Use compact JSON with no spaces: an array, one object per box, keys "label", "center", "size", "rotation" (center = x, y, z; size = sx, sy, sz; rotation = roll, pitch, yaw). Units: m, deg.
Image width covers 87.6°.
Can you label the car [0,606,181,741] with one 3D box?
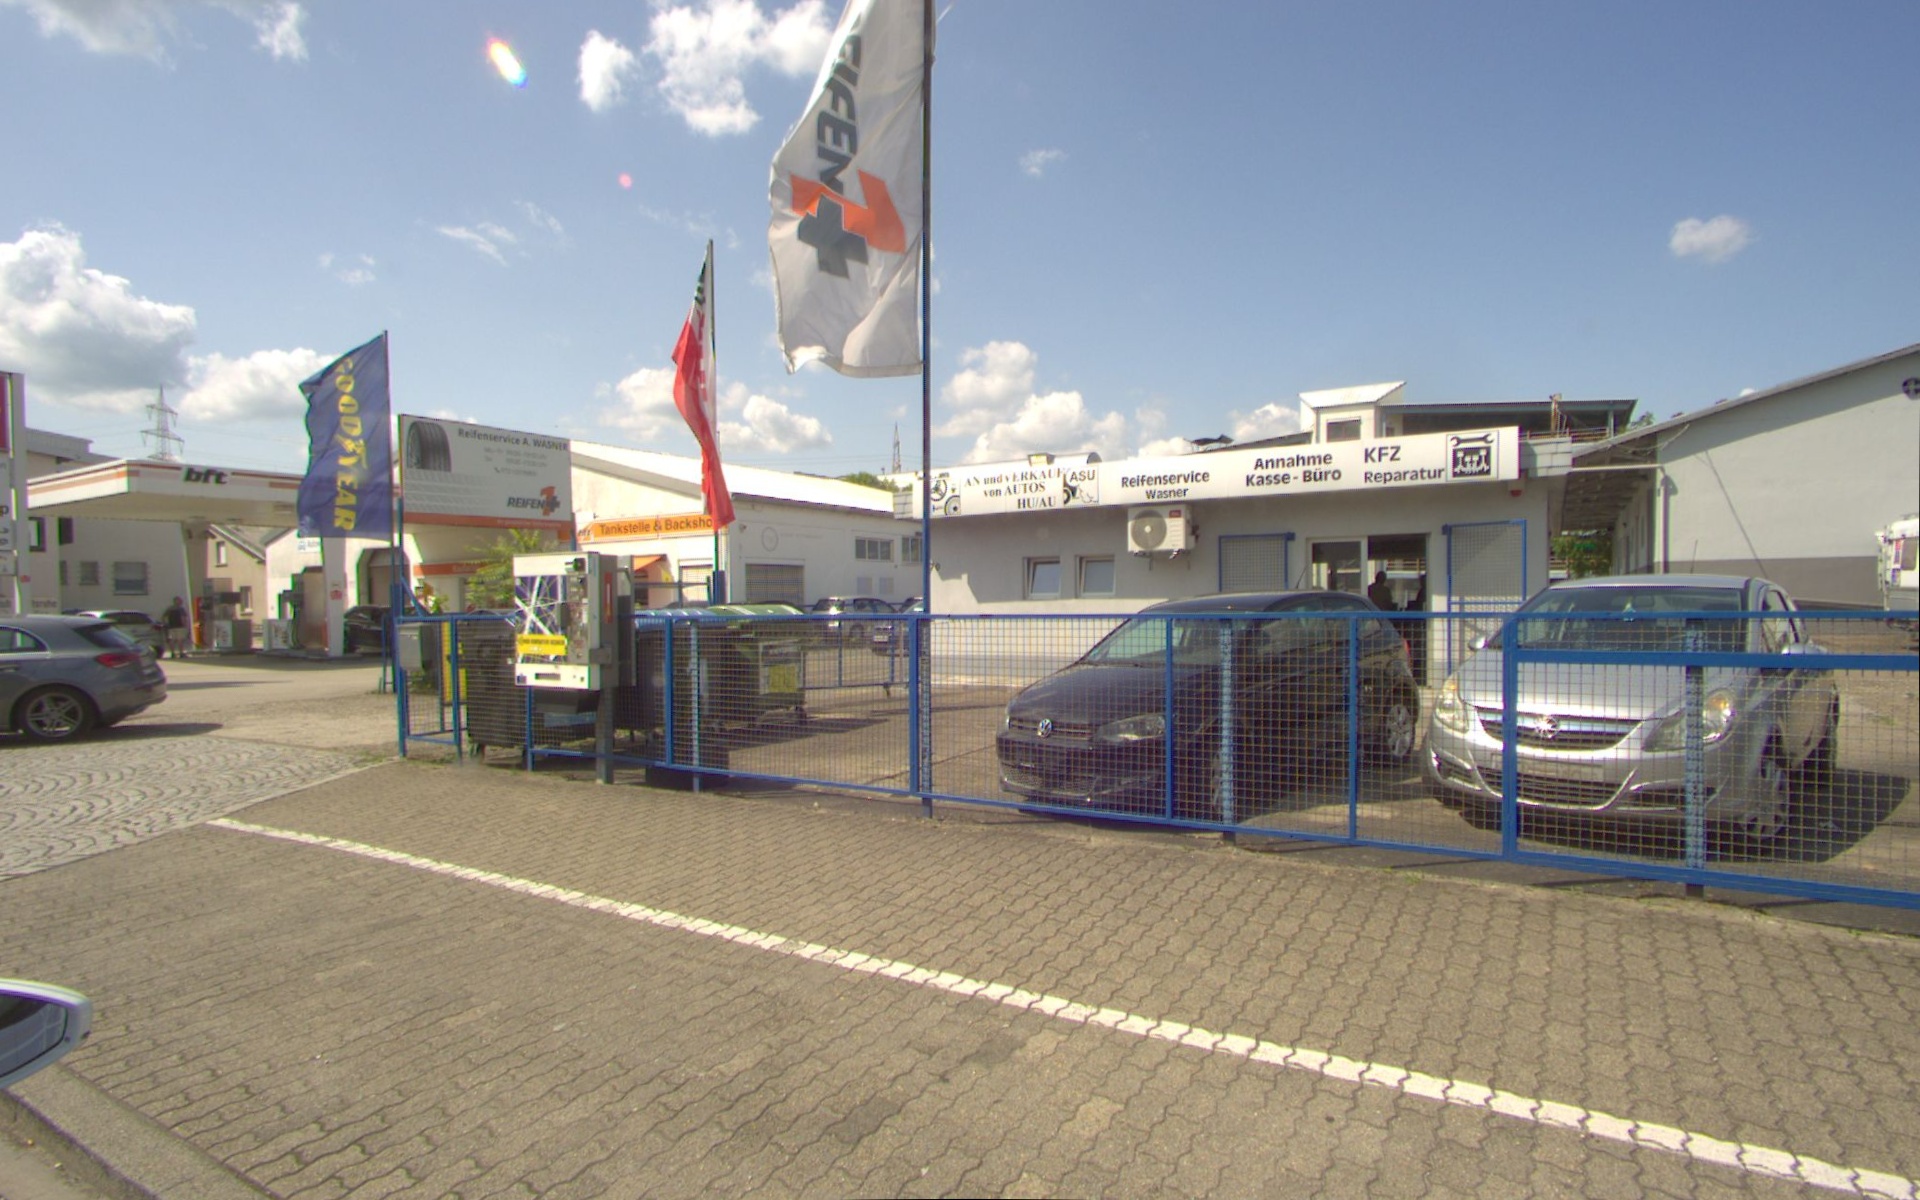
[{"label":"car","center":[-11.431,0.813,11.056],"size":[4.224,1.434,1.665],"rotation":[-1,0,-30]}]

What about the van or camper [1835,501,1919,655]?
[{"label":"van or camper","center":[21.009,-0.457,19.532],"size":[5.571,3.005,2.264],"rotation":[0,1,31]}]

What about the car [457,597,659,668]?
[{"label":"car","center":[-9.170,0.686,23.167],"size":[1.564,1.482,4.187],"rotation":[0,0,33]}]

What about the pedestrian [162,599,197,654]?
[{"label":"pedestrian","center":[-23.781,0.798,30.520],"size":[0.698,1.679,0.546],"rotation":[-1,1,-22]}]

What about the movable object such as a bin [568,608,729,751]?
[{"label":"movable object such as a bin","center":[-3.332,0.799,10.741],"size":[1.225,1.415,1.106],"rotation":[0,1,31]}]

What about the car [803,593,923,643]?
[{"label":"car","center":[-3.020,0.524,32.054],"size":[1.564,1.482,4.187],"rotation":[0,0,33]}]

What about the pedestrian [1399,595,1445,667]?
[{"label":"pedestrian","center":[8.041,0.530,17.442],"size":[0.654,1.225,0.563],"rotation":[0,1,34]}]

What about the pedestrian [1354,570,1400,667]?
[{"label":"pedestrian","center":[7.347,0.316,17.649],"size":[0.654,1.671,0.563],"rotation":[0,1,34]}]

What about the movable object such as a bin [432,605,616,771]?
[{"label":"movable object such as a bin","center":[-4.165,0.783,9.610],"size":[1.225,1.455,1.106],"rotation":[0,1,31]}]

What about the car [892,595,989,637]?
[{"label":"car","center":[-0.645,0.531,35.739],"size":[1.564,1.385,3.860],"rotation":[0,0,33]}]

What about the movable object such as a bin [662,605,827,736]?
[{"label":"movable object such as a bin","center":[-2.539,0.780,11.906],"size":[1.318,1.414,1.400],"rotation":[0,1,31]}]

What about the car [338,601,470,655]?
[{"label":"car","center":[-16.774,0.800,30.181],"size":[3.777,1.523,1.803],"rotation":[-1,0,31]}]

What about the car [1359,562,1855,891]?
[{"label":"car","center":[4.267,0.558,6.383],"size":[3.729,1.472,1.757],"rotation":[-1,0,-42]}]

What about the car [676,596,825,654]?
[{"label":"car","center":[-5.723,0.639,27.822],"size":[1.564,1.482,4.187],"rotation":[0,0,33]}]

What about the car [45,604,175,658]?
[{"label":"car","center":[-25.742,0.898,30.310],"size":[3.776,1.523,1.803],"rotation":[-1,0,30]}]

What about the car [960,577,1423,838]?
[{"label":"car","center":[1.887,0.598,7.493],"size":[3.655,1.472,1.625],"rotation":[-1,0,-43]}]

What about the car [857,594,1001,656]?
[{"label":"car","center":[-0.680,0.567,25.325],"size":[1.649,1.434,4.266],"rotation":[0,0,30]}]
